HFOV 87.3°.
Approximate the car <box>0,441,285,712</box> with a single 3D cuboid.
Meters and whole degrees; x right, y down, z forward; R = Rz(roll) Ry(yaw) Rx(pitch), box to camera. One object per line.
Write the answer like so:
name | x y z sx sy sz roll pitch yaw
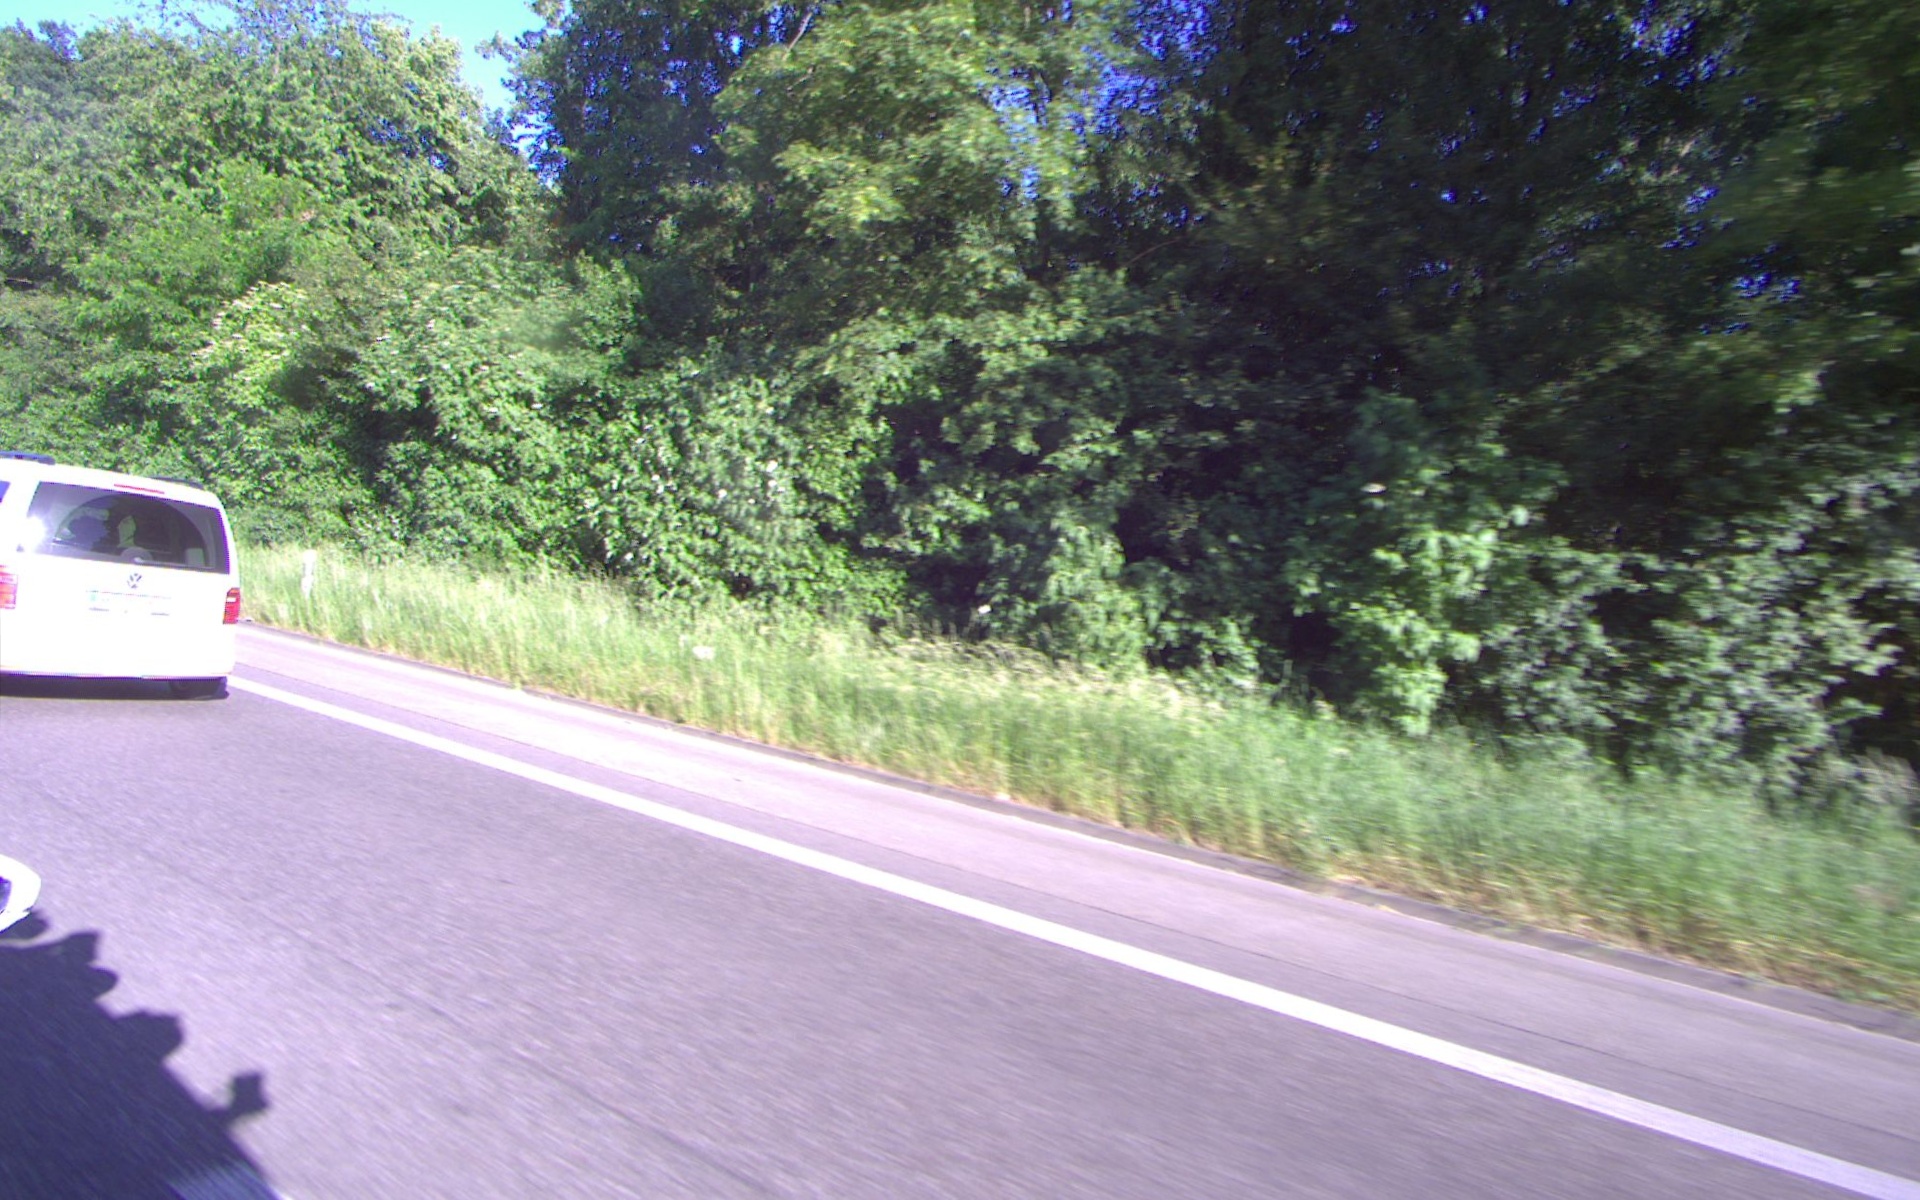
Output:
car | -8.068 -0.281 8.707 4.511 1.834 1.803 6 -2 31
